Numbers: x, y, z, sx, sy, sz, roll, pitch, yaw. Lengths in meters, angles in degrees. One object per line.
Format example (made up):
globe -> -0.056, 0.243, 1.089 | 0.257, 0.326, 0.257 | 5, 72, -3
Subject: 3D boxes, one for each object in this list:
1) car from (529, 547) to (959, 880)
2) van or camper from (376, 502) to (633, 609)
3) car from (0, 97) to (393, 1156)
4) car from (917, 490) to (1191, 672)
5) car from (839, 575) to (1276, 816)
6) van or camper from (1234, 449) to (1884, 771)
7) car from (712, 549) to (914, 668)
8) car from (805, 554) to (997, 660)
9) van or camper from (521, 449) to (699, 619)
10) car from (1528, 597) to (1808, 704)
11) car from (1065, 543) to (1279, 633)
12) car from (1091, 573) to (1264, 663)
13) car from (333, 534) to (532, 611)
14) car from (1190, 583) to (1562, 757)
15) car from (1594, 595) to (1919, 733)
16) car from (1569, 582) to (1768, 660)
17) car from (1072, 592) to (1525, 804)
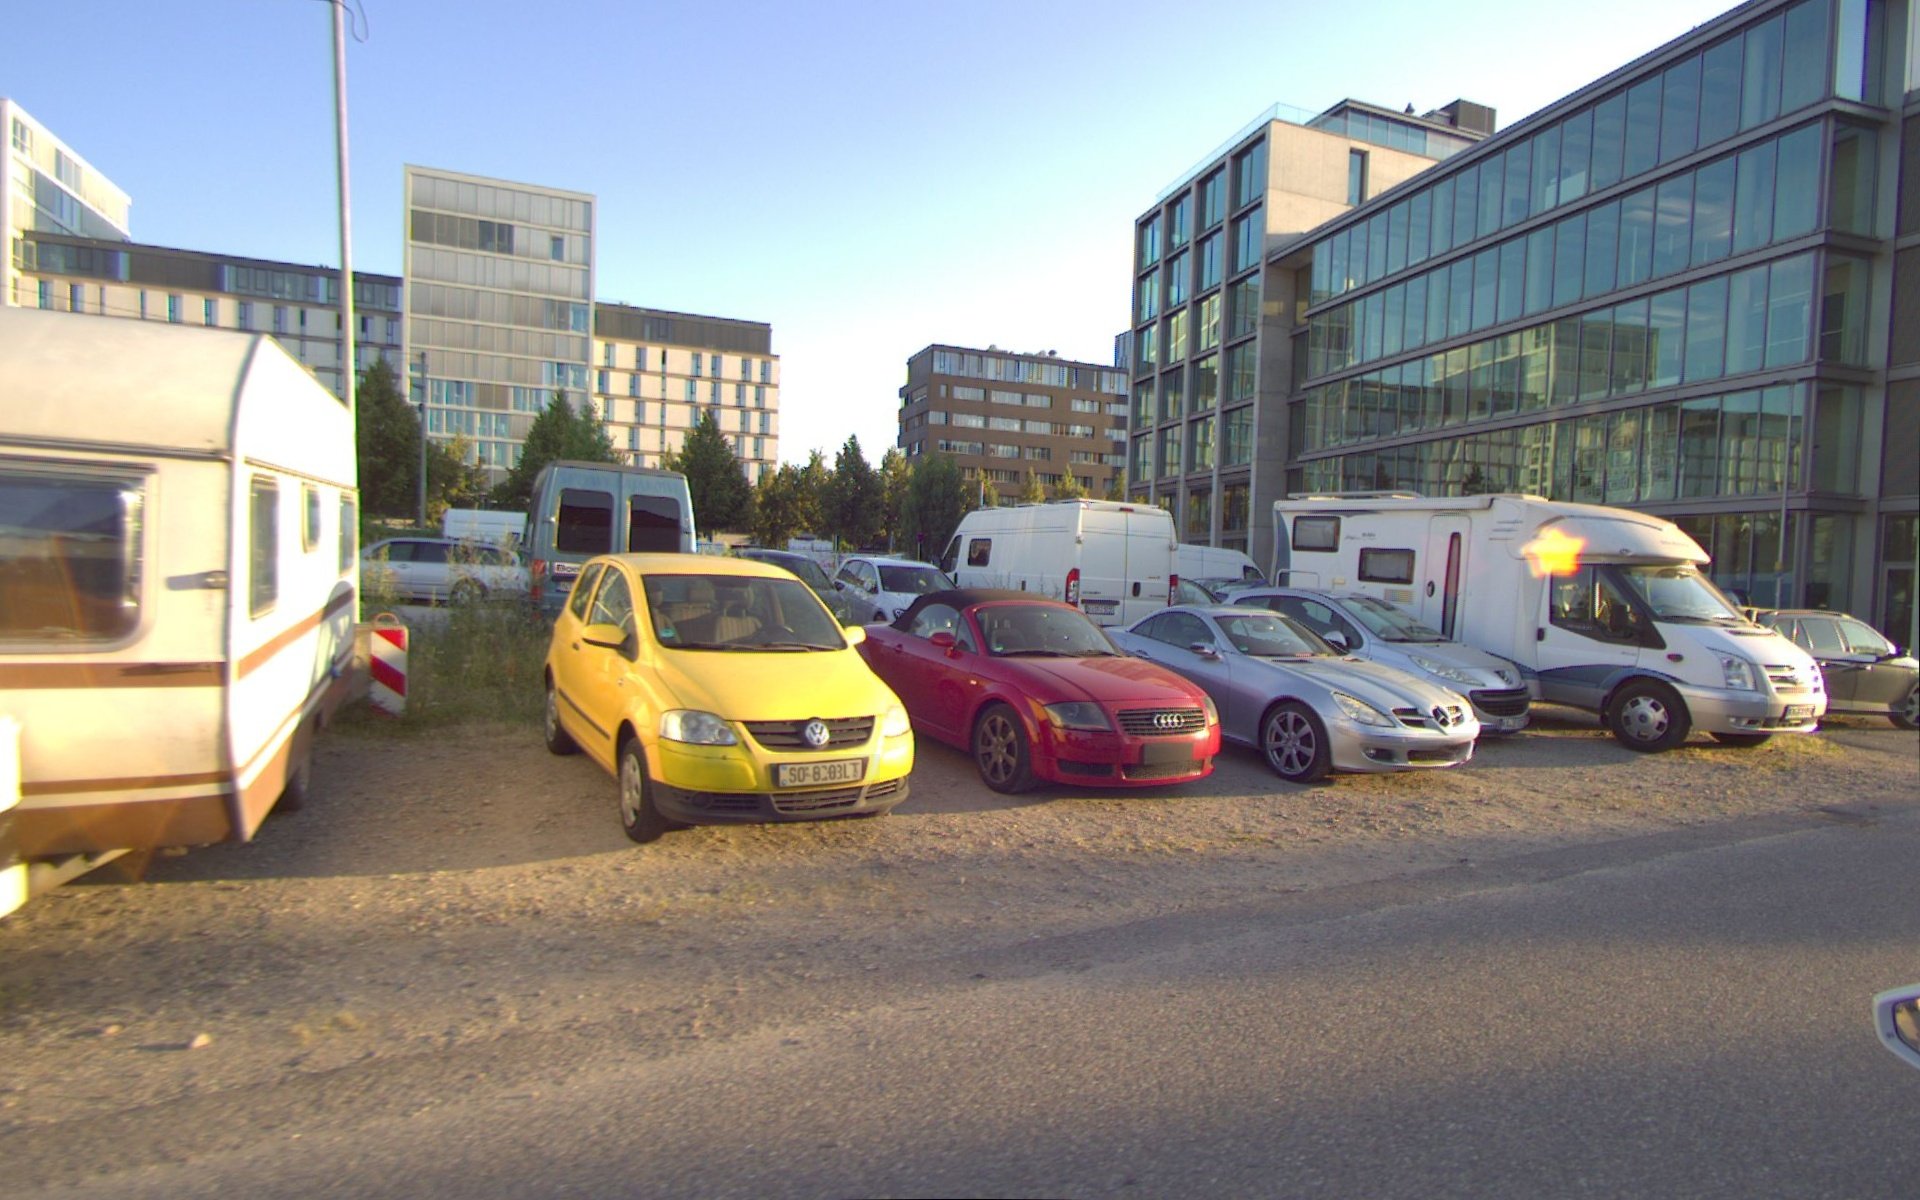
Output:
car -> -1.686, 0.474, 6.740 | 1.686, 1.539, 3.608 | 1, 3, -32
van or camper -> -13.081, -1.240, 29.243 | 6.550, 2.726, 2.008 | 2, 3, -25
car -> -4.202, -0.105, 4.736 | 2.381, 2.568, 5.864 | 1, 3, -27
car -> 1.363, -0.419, 18.218 | 2.191, 2.709, 6.226 | 1, 3, -23
car -> 0.556, 0.577, 8.335 | 1.686, 1.385, 3.705 | 1, 3, -32
van or camper -> 6.780, -0.038, 12.707 | 2.378, 2.937, 6.712 | 1, 2, -28
car -> -2.301, 0.047, 14.967 | 1.674, 1.496, 3.584 | 1, 3, -32
car -> -1.085, 0.042, 16.788 | 1.674, 1.496, 3.584 | 1, 3, -32
van or camper -> -4.961, -0.862, 13.830 | 1.906, 1.916, 4.324 | 1, 3, -24
car -> 10.820, 0.741, 15.378 | 3.665, 1.441, 1.660 | 2, 2, -20
car -> 7.153, -0.396, 33.828 | 6.876, 2.840, 2.203 | 1, 2, -20
car -> 4.062, 0.289, 19.267 | 1.493, 1.467, 3.429 | 1, 3, -23
car -> -11.238, -0.556, 21.644 | 3.633, 1.481, 1.699 | 1, 1, -25
car -> 4.579, 0.655, 11.527 | 1.675, 1.496, 3.582 | 1, 3, -33
car -> 10.752, 0.821, 13.182 | 4.292, 1.539, 1.685 | 2, 2, -18
car -> 18.890, 0.471, 27.008 | 1.818, 1.856, 4.081 | -1, 2, -19
car -> 2.861, 0.712, 9.312 | 1.673, 1.346, 3.789 | 1, 3, -30
